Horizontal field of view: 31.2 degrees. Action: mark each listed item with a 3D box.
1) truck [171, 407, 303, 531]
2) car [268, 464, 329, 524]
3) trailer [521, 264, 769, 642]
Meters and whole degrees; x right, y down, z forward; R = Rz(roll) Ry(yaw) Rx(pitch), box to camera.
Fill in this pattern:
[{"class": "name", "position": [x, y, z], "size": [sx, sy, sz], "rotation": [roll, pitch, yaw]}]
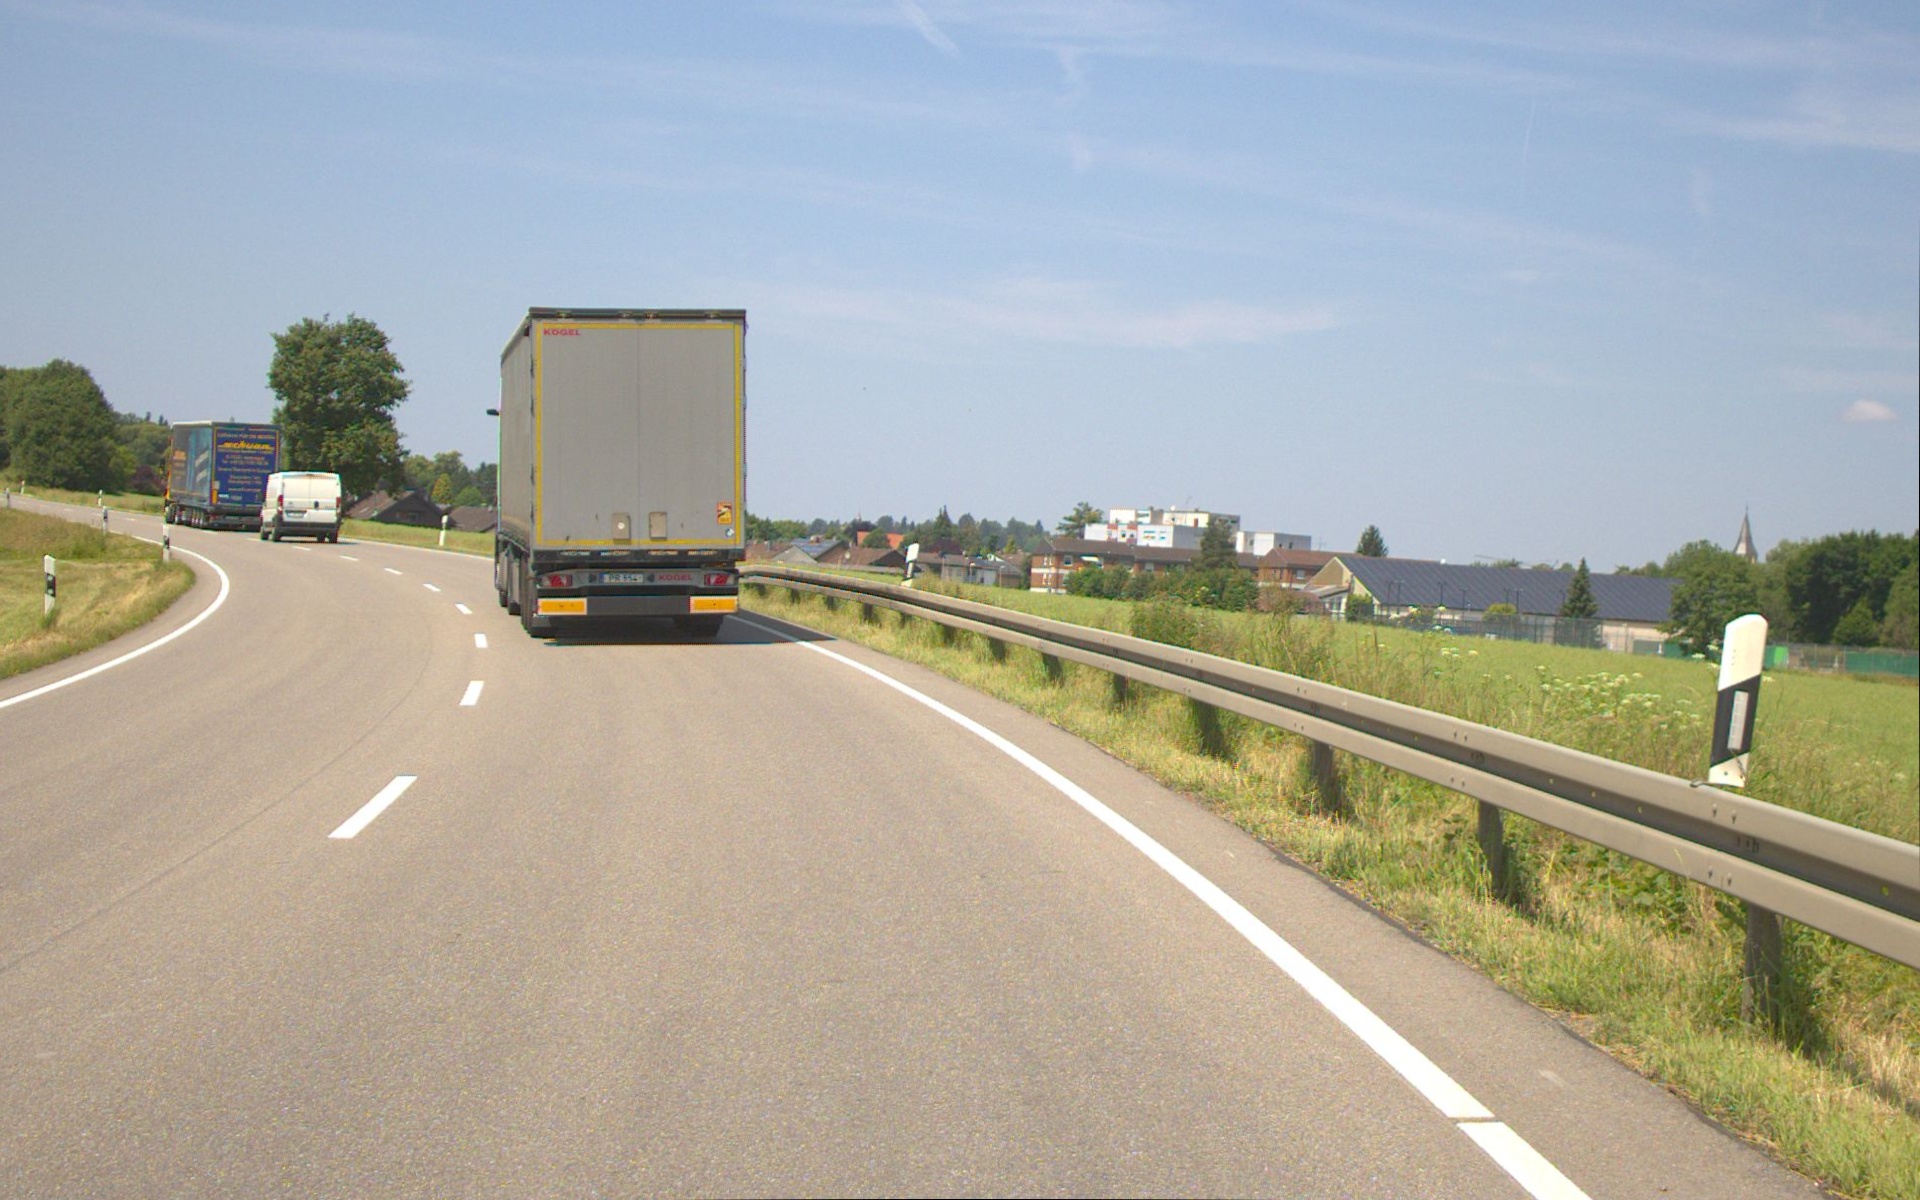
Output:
[{"class": "truck", "position": [-28.379, -5.010, 134.114], "size": [3.548, 4.377, 18.128], "rotation": [2, 1, -16]}, {"class": "car", "position": [-21.254, -3.412, 110.404], "size": [1.725, 1.866, 4.002], "rotation": [1, 2, -13]}, {"class": "trailer", "position": [-4.526, -1.914, 46.853], "size": [2.866, 4.385, 13.497], "rotation": [0, 2, -7]}]
